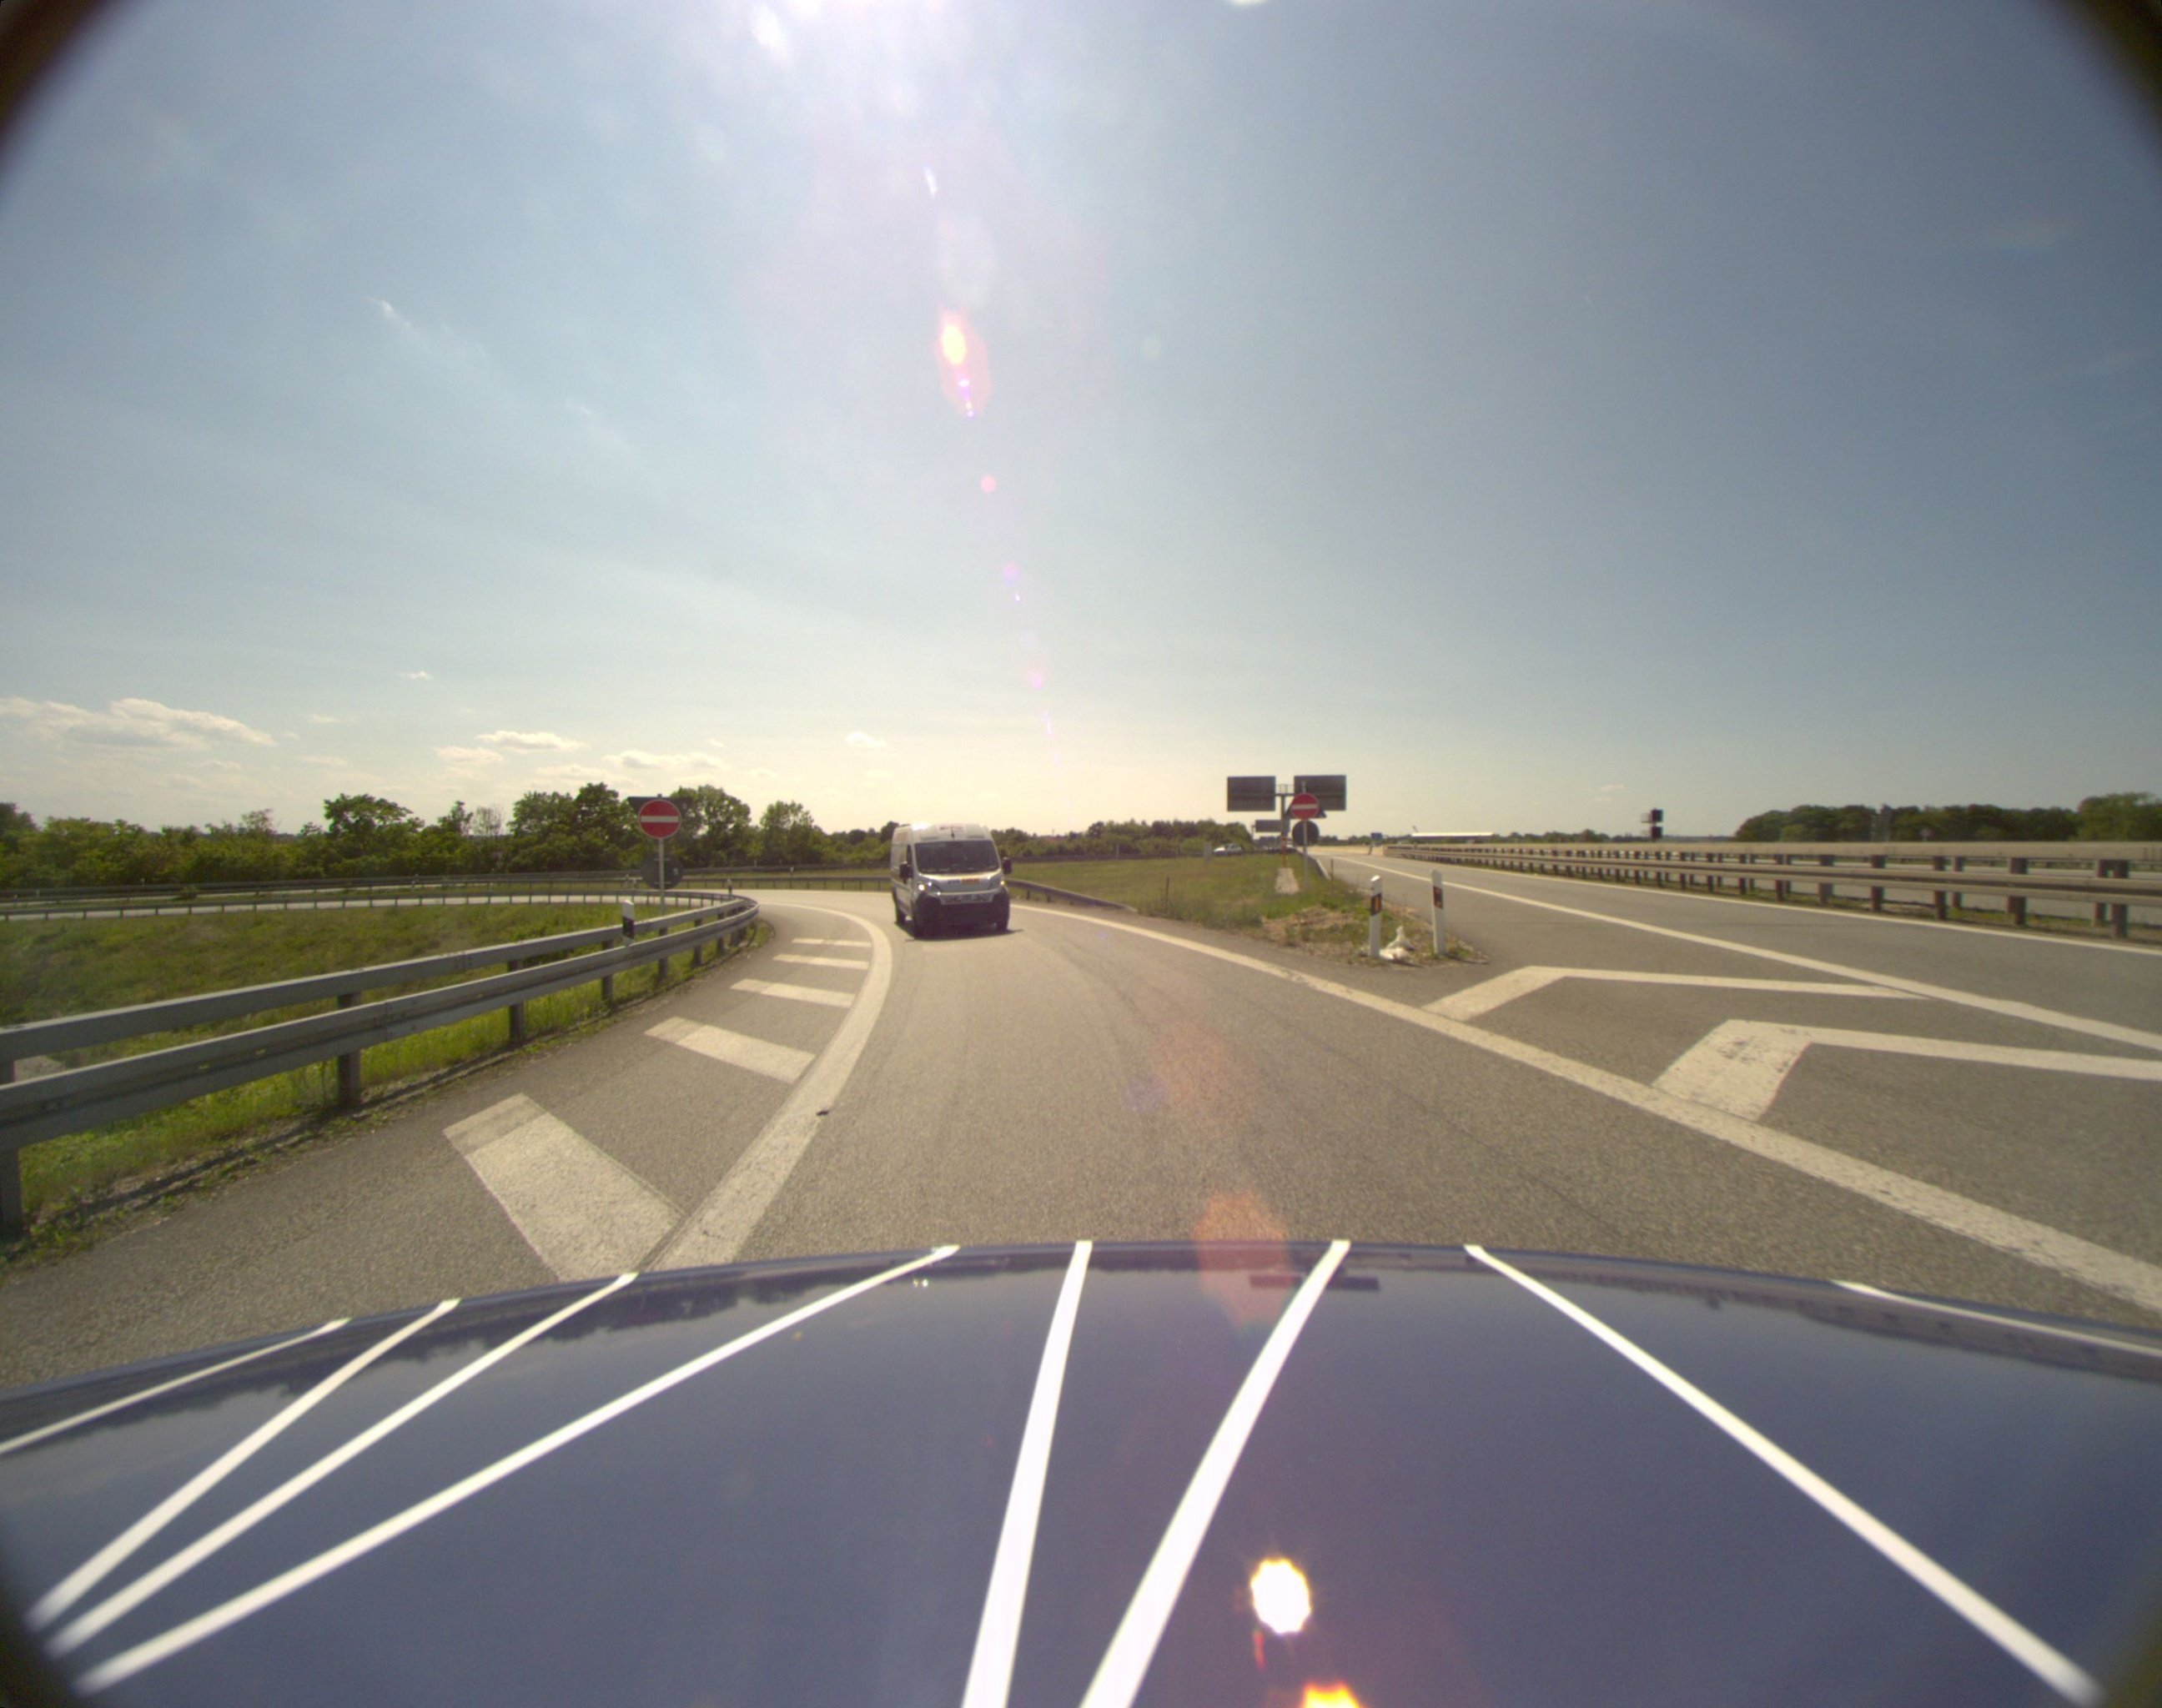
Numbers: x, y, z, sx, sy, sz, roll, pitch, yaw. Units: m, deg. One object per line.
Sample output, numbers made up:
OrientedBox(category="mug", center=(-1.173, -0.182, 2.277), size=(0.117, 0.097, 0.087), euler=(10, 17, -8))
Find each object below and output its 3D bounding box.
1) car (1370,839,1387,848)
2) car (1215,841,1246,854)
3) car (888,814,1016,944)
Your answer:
OrientedBox(category="car", center=(47.233, -1.699, 120.516), size=(1.832, 1.424, 4.220), euler=(-1, 1, 12))
OrientedBox(category="car", center=(19.781, -0.914, 100.516), size=(1.994, 1.499, 4.307), euler=(-2, 1, 42))
OrientedBox(category="car", center=(-3.362, 0.533, 18.443), size=(2.090, 2.509, 6.228), euler=(-4, 0, -18))
